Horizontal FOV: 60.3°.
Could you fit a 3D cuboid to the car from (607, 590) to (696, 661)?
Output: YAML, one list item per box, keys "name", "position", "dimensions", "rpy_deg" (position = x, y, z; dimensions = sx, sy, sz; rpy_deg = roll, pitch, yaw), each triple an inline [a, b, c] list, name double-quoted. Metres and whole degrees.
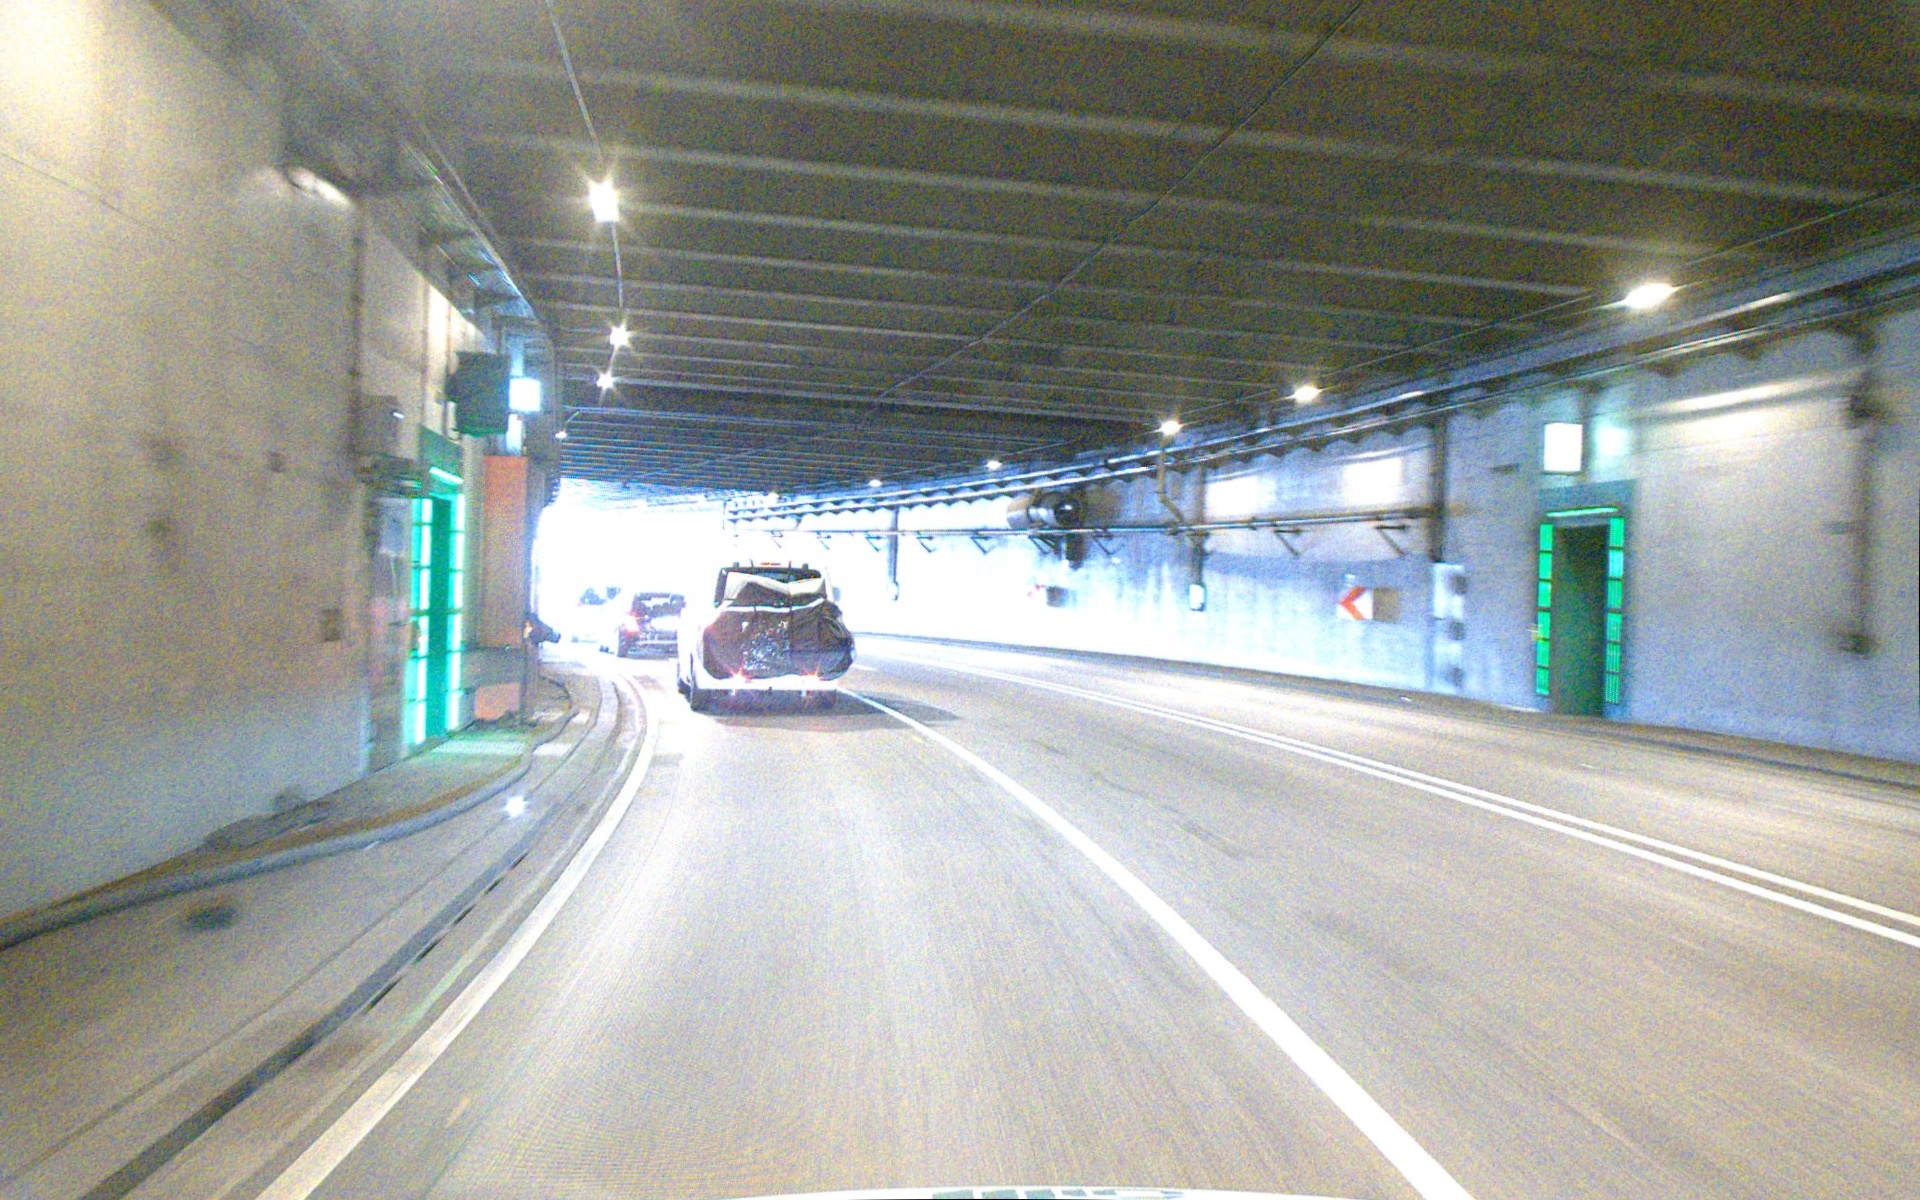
- name: "car"
  position: [-6.695, 0.530, 35.748]
  dimensions: [1.577, 1.420, 3.263]
  rpy_deg: [1, 1, -16]

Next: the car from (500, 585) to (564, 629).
- name: "car"
  position: [-16.812, 0.255, 64.880]
  dimensions: [1.585, 1.659, 3.323]
  rpy_deg: [2, 0, -29]

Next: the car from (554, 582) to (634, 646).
- name: "car"
  position: [-9.888, 0.365, 44.572]
  dimensions: [1.580, 1.622, 3.334]
  rpy_deg: [2, 0, -22]

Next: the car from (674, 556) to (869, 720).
- name: "car"
  position: [-2.612, 0.395, 21.732]
  dimensions: [1.959, 1.879, 5.284]
  rpy_deg: [0, 1, -13]
